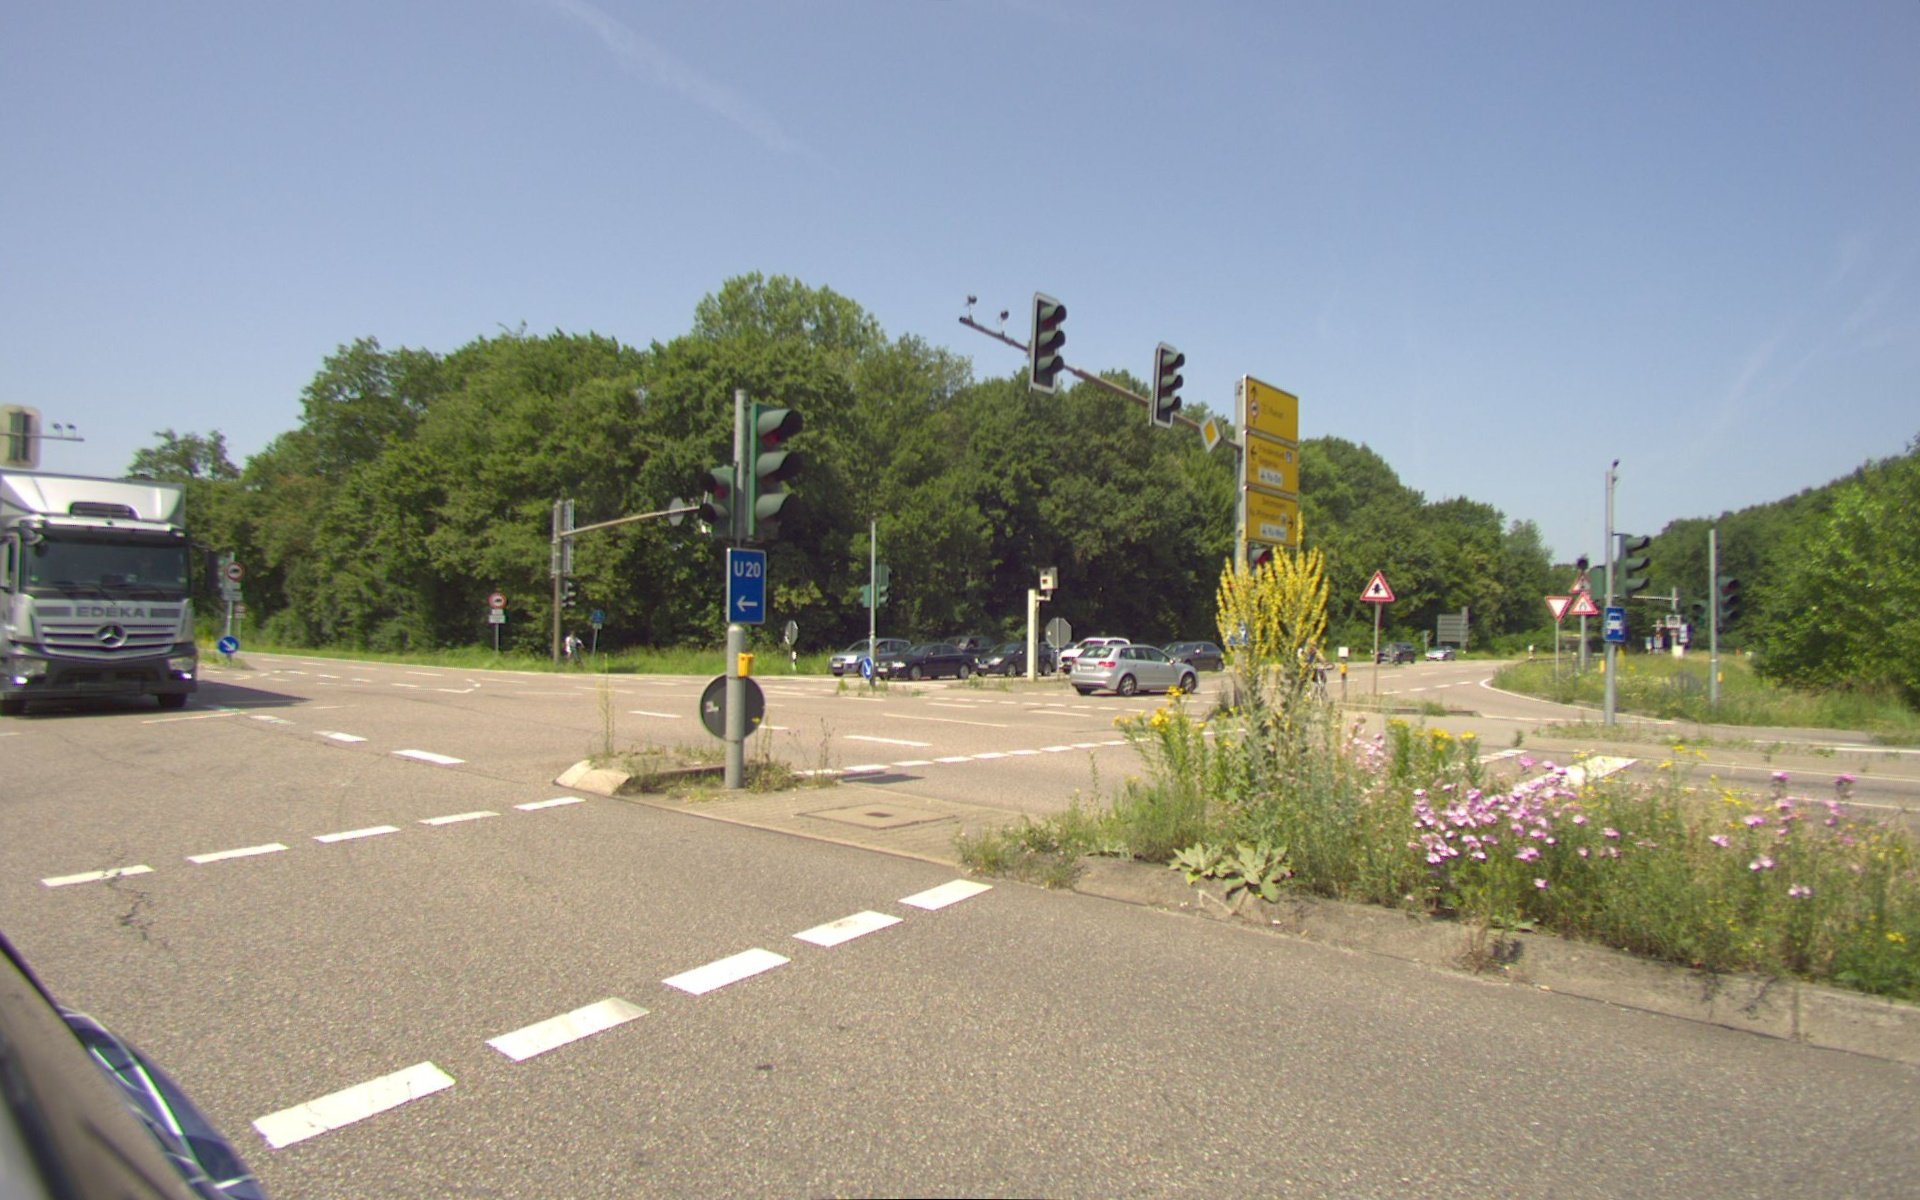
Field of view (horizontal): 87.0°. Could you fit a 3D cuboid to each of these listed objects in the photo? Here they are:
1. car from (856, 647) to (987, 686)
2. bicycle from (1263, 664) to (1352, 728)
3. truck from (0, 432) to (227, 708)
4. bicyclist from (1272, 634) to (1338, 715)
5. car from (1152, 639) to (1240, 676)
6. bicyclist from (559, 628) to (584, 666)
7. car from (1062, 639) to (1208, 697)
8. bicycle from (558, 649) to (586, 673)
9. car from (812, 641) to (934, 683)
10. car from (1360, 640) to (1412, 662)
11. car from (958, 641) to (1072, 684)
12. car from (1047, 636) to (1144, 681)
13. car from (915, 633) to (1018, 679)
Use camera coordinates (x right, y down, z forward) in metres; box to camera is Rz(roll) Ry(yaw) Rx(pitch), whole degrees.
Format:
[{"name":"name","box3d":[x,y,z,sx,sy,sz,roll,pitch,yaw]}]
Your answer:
[{"name":"car","box3d":[-1.334,2.410,37.238,2.105,1.300,4.753,-2,-4,42]},{"name":"bicycle","box3d":[6.395,1.748,18.737,0.712,1.071,1.873,1,-3,-11]},{"name":"truck","box3d":[-17.045,-0.309,19.049,11.313,3.914,2.718,-1,-2,41]},{"name":"bicyclist","box3d":[6.396,1.376,18.784,0.911,1.471,0.718,1,-3,-11]},{"name":"car","box3d":[10.443,2.509,44.503,1.860,1.530,4.756,-1,-3,40]},{"name":"bicyclist","box3d":[-15.366,1.847,40.019,0.651,1.476,0.811,3,-3,-39]},{"name":"car","box3d":[4.872,1.826,28.017,3.949,1.402,1.774,0,-2,-38]},{"name":"bicycle","box3d":[-15.349,2.405,39.980,0.558,0.930,1.608,3,-3,-39]},{"name":"car","box3d":[-3.436,2.475,40.682,2.129,1.579,4.754,-2,-4,41]},{"name":"car","box3d":[32.297,3.861,76.644,2.001,1.648,4.750,-2,-4,45]},{"name":"car","box3d":[2.296,2.546,41.438,2.001,1.648,4.750,-2,-4,45]},{"name":"car","box3d":[6.239,2.646,46.075,2.066,1.910,4.753,-2,-4,42]},{"name":"car","box3d":[0.356,2.475,45.045,1.999,1.913,4.754,-2,-4,41]}]
